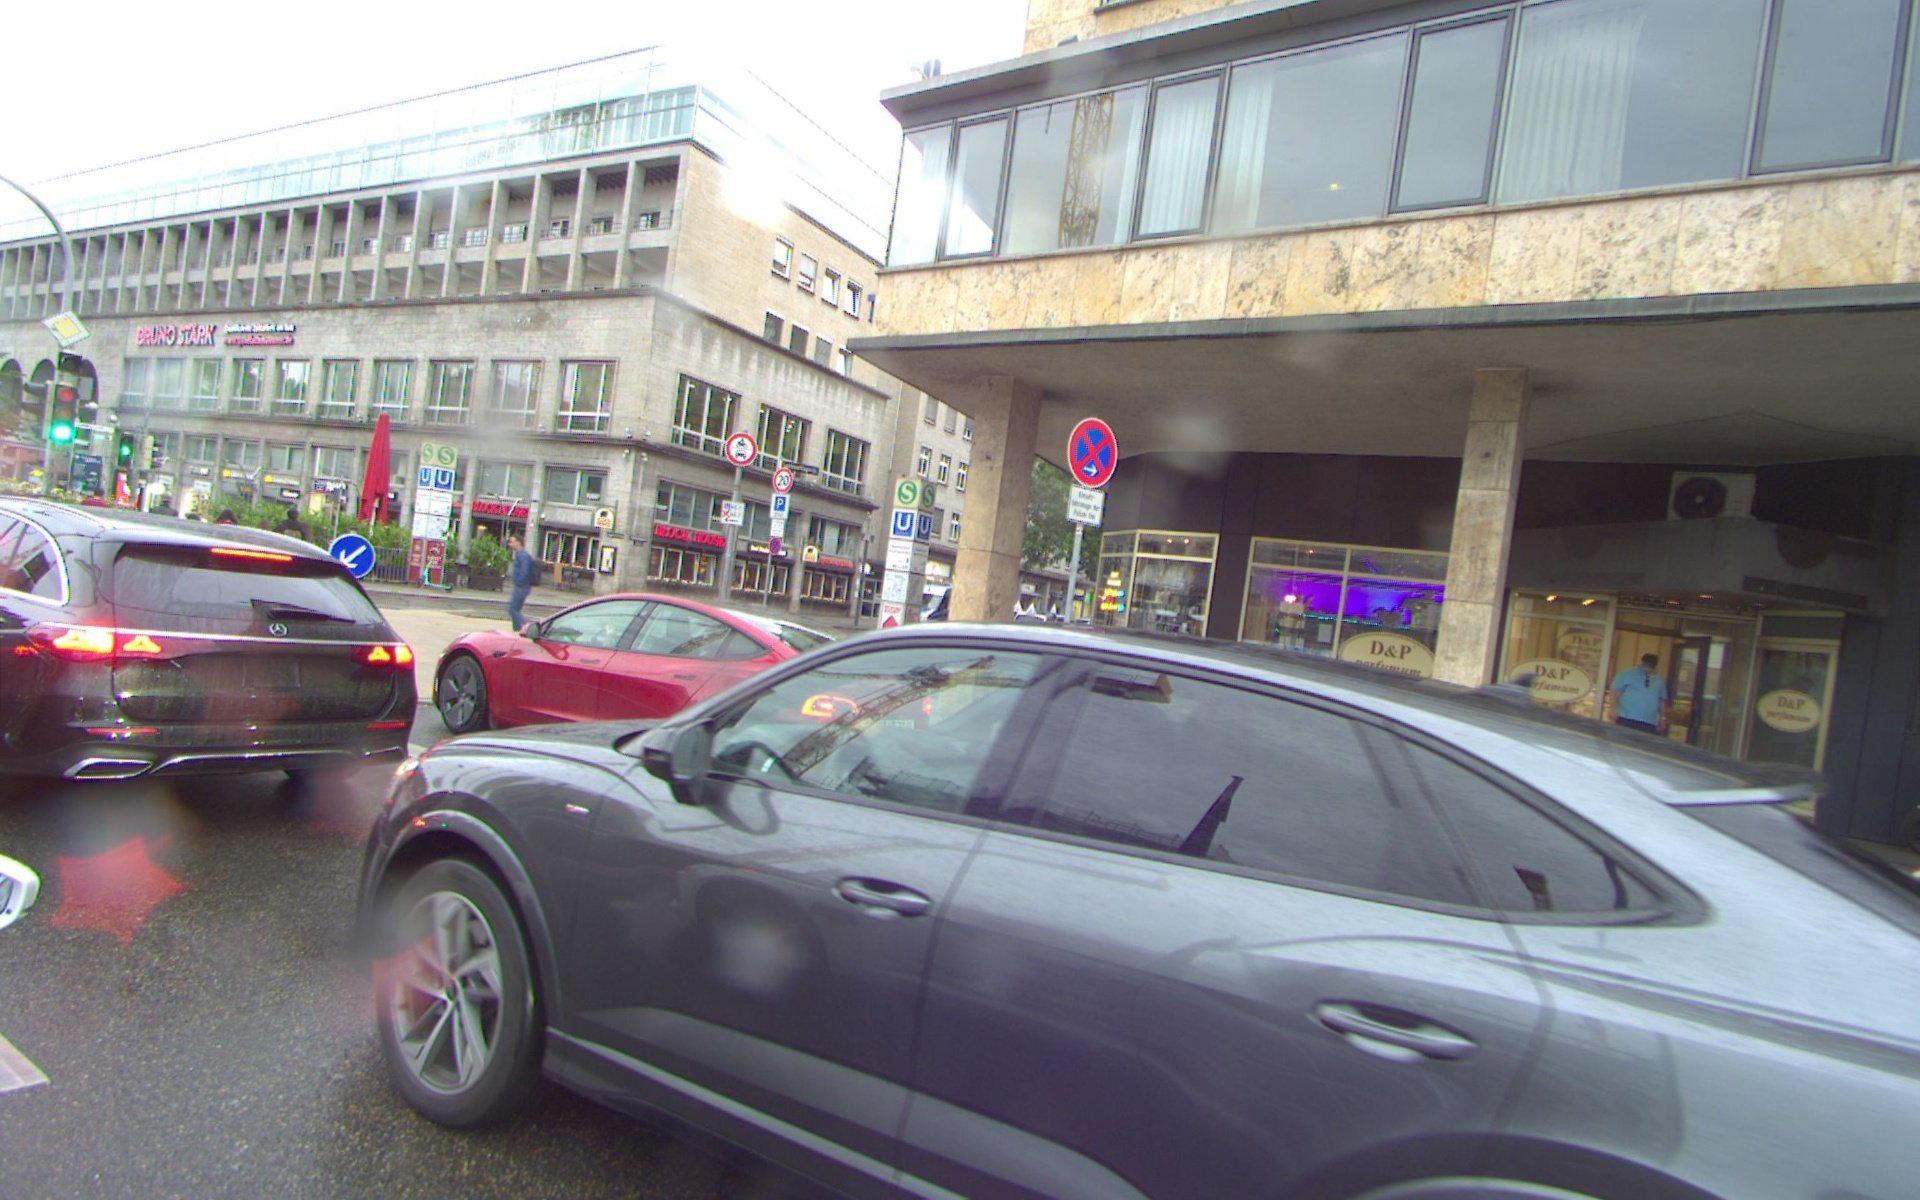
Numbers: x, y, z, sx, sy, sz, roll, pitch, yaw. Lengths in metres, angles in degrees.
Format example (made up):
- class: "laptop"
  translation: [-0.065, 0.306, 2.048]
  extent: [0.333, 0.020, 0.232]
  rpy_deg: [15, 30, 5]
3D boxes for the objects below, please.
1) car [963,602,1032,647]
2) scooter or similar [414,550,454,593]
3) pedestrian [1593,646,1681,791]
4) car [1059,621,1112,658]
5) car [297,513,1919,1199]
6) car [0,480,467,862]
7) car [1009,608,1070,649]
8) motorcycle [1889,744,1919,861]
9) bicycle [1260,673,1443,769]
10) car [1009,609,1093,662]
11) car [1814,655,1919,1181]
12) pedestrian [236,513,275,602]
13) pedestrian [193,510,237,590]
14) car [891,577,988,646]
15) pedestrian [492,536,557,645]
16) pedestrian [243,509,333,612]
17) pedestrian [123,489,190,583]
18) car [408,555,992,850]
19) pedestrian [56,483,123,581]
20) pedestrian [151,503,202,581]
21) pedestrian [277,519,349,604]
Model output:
- class: "car"
  translation: [2.214, 1.464, 58.443]
  extent: [1.966, 2.065, 4.557]
  rpy_deg: [7, -2, 29]
- class: "scooter or similar"
  translation: [-16.340, -0.879, 31.247]
  extent: [1.000, 1.203, 0.291]
  rpy_deg: [7, -1, 13]
- class: "pedestrian"
  translation: [9.236, 1.605, 13.717]
  extent: [0.789, 1.811, 1.133]
  rpy_deg: [7, -1, 36]
- class: "car"
  translation: [8.816, 2.784, 70.337]
  extent: [1.965, 2.065, 4.834]
  rpy_deg: [7, -2, 28]
- class: "car"
  translation: [0.351, 0.784, 2.744]
  extent: [4.271, 1.519, 1.882]
  rpy_deg: [6, -2, 32]
- class: "car"
  translation: [-5.189, 0.170, 5.986]
  extent: [4.552, 1.519, 1.797]
  rpy_deg: [6, -2, 32]
- class: "car"
  translation: [5.079, 1.809, 63.569]
  extent: [1.966, 2.065, 4.483]
  rpy_deg: [7, -2, 29]
- class: "motorcycle"
  translation: [11.167, 2.286, 10.469]
  extent: [2.074, 1.232, 0.567]
  rpy_deg: [6, -2, 40]
- class: "bicycle"
  translation: [5.940, 1.816, 15.333]
  extent: [2.431, 1.058, 0.657]
  rpy_deg: [6, -1, 32]
- class: "car"
  translation: [4.298, 1.705, 46.805]
  extent: [1.966, 1.995, 4.638]
  rpy_deg: [7, -1, 29]
- class: "car"
  translation: [5.990, 1.428, 2.985]
  extent: [4.853, 1.942, 1.878]
  rpy_deg: [6, -2, 31]
- class: "pedestrian"
  translation: [-14.521, -0.881, 20.752]
  extent: [0.477, 1.774, 0.661]
  rpy_deg: [5, 2, -30]
- class: "pedestrian"
  translation: [-15.121, -1.008, 20.424]
  extent: [0.460, 1.535, 0.447]
  rpy_deg: [8, -1, -25]
- class: "car"
  translation: [-0.928, 0.644, 51.224]
  extent: [1.965, 2.792, 6.186]
  rpy_deg: [7, -2, 28]
- class: "pedestrian"
  translation: [-7.585, -0.150, 17.536]
  extent: [0.768, 1.777, 0.503]
  rpy_deg: [8, -1, -15]
- class: "pedestrian"
  translation: [-12.415, -0.713, 18.606]
  extent: [0.642, 1.774, 1.097]
  rpy_deg: [7, 2, 29]
- class: "pedestrian"
  translation: [-16.123, -1.272, 20.186]
  extent: [0.458, 1.737, 0.757]
  rpy_deg: [7, -1, 28]
- class: "car"
  translation: [-2.201, 0.670, 8.139]
  extent: [4.451, 1.503, 1.878]
  rpy_deg: [6, -2, 31]
- class: "pedestrian"
  translation: [-16.751, -1.287, 19.381]
  extent: [0.561, 1.772, 0.678]
  rpy_deg: [7, -1, -15]
- class: "pedestrian"
  translation: [-15.515, -1.147, 19.923]
  extent: [0.627, 1.444, 0.485]
  rpy_deg: [8, -1, -36]
- class: "pedestrian"
  translation: [-13.771, -0.814, 21.429]
  extent: [0.884, 1.645, 0.795]
  rpy_deg: [7, -1, 28]
